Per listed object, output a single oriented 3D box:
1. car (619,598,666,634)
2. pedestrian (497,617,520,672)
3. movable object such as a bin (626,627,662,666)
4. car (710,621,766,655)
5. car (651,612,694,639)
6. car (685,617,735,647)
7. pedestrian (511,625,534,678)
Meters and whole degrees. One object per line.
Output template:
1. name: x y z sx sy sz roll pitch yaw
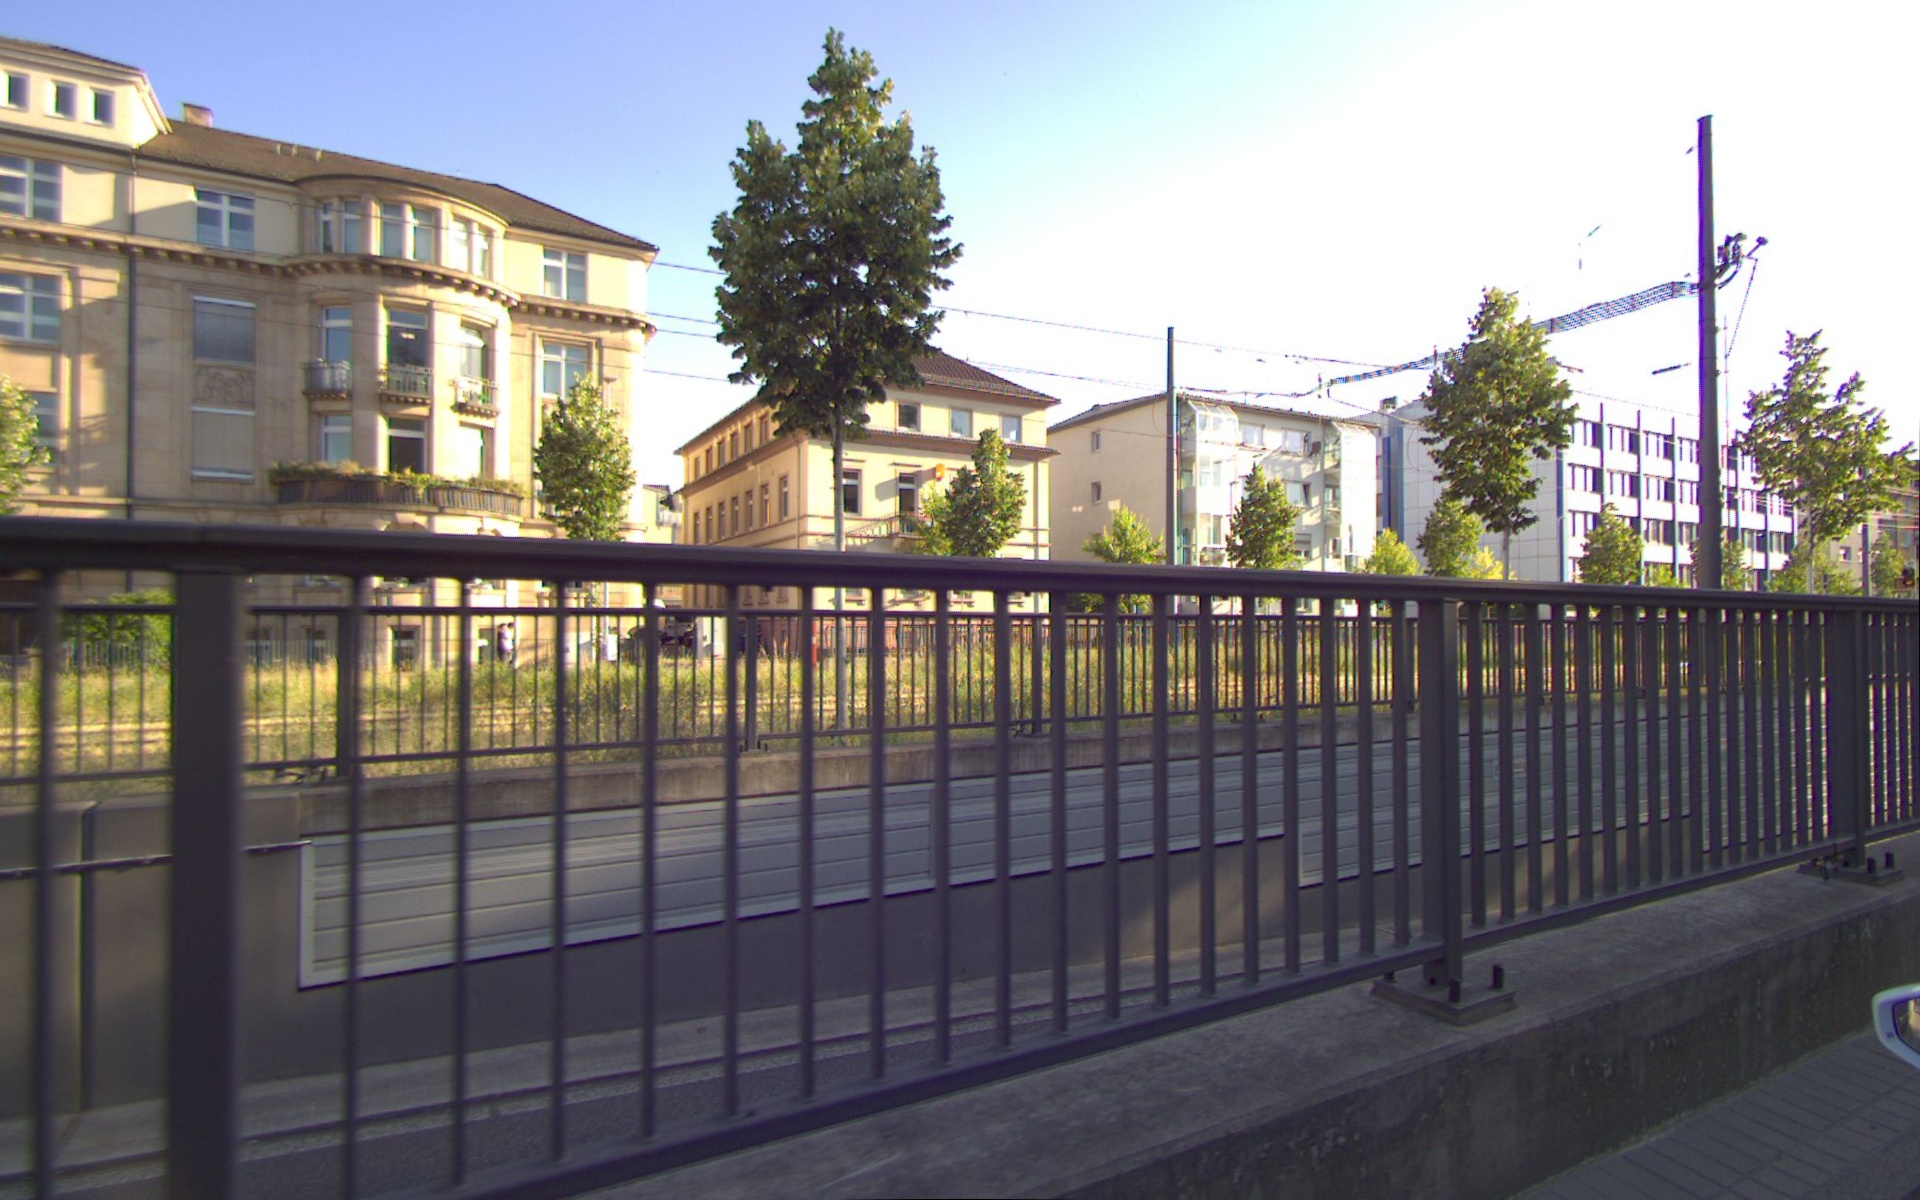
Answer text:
1. car: -21.477 1.047 67.923 2.220 2.299 4.547 2 -1 -28
2. pedestrian: -14.626 1.434 32.534 0.645 1.743 0.553 1 -1 -30
3. movable object such as a bin: -11.952 1.739 38.003 1.067 1.448 1.200 0 -1 -30
4. car: -10.823 1.810 48.815 1.661 1.488 3.971 2 -1 -28
5. car: -17.190 1.522 59.916 1.661 1.488 3.971 2 -1 -28
6. car: -13.325 1.679 53.373 1.661 1.488 3.971 2 -1 -28
7. pedestrian: -14.512 1.695 33.325 0.645 1.743 0.653 1 -1 -30
